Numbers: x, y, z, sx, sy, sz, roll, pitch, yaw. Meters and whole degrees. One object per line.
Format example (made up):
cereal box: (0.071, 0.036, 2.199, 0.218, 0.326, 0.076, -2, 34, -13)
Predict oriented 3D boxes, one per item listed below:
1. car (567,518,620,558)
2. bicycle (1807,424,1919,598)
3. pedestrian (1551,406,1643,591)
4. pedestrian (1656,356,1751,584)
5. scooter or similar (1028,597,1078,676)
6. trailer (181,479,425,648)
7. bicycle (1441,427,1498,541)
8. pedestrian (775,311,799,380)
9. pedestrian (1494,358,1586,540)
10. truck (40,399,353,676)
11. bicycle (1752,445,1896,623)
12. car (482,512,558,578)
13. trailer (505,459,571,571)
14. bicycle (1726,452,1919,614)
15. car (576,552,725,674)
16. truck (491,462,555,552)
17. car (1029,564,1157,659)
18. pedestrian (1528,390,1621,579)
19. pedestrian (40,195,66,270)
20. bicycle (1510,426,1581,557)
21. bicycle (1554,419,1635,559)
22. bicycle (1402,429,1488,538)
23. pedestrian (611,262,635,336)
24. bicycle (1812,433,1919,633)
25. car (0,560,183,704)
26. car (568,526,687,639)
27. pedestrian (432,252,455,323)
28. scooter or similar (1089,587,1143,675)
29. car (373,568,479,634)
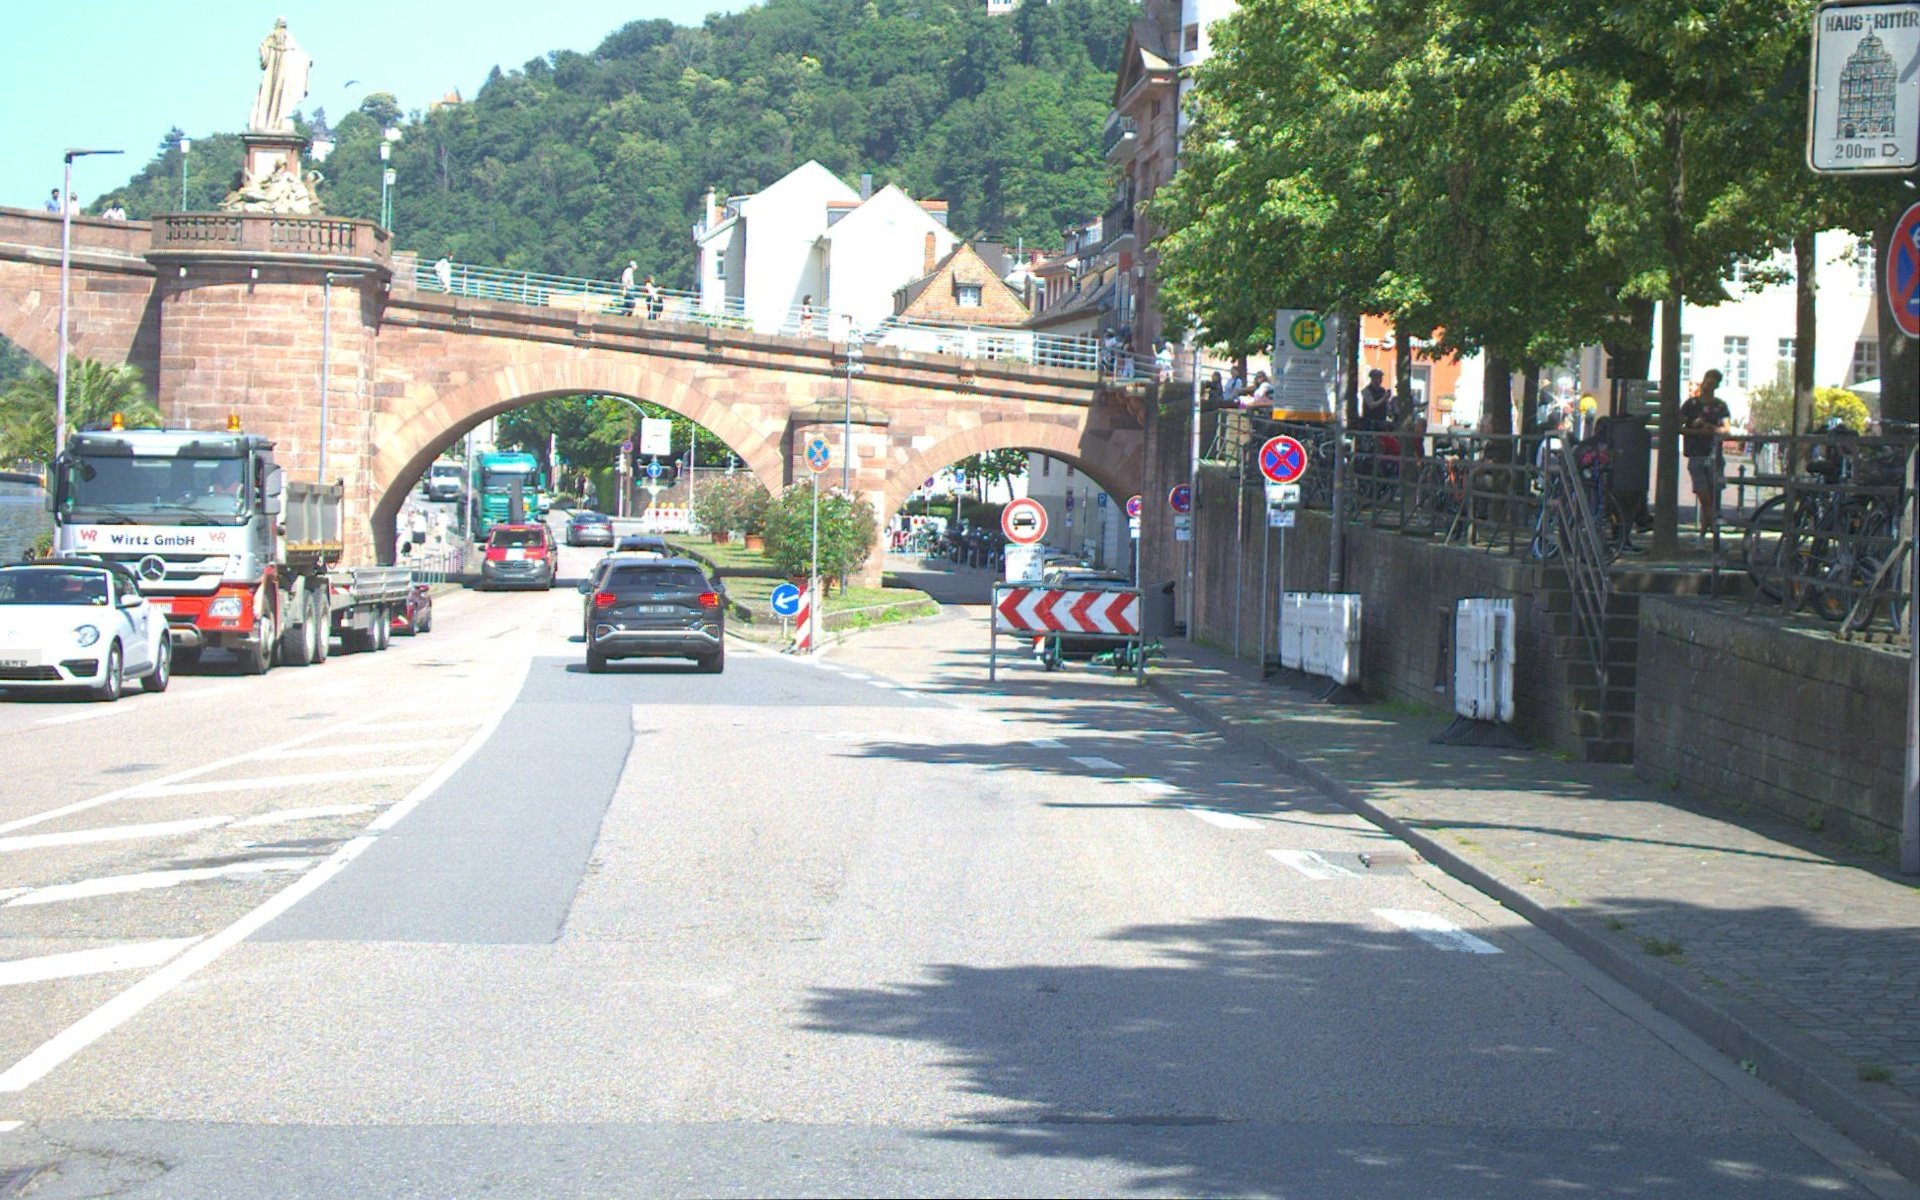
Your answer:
car: (-15.255, -2.587, 142.993, 1.855, 1.656, 4.001, 0, 1, -11)
bicycle: (6.277, -0.616, 23.559, 0.382, 1.136, 1.934, 1, 2, -2)
pedestrian: (5.978, -0.950, 32.280, 0.718, 1.715, 0.573, 1, 1, -1)
pedestrian: (7.192, -1.252, 33.290, 0.718, 2.181, 0.711, 1, 1, -1)
scooter or similar: (1.333, 0.517, 49.030, 0.532, 1.086, 1.438, 1, 1, 8)
trailer: (-10.398, -0.576, 55.043, 2.697, 2.522, 6.948, 0, 0, -1)
bicycle: (5.031, -1.134, 34.008, 0.410, 1.102, 1.734, 1, 1, 4)
pedestrian: (-5.159, -7.569, 102.417, 0.684, 2.007, 0.586, 1, 1, -4)
pedestrian: (5.546, -1.437, 32.884, 0.718, 1.715, 0.711, 1, 1, -1)
truck: (-10.202, -0.822, 46.753, 2.642, 3.445, 7.872, 0, 1, -1)
bicycle: (5.097, -0.405, 20.362, 0.298, 1.001, 1.860, 1, 2, -2)
car: (-12.594, -1.592, 98.585, 1.874, 1.821, 4.545, 0, 2, -3)
trailer: (-12.758, -2.572, 104.072, 1.741, 3.309, 3.384, 0, 1, -3)
bicycle: (5.830, -0.423, 21.841, 1.853, 1.001, 0.299, 1, 2, -3)
car: (-4.107, 0.136, 46.117, 1.856, 1.518, 4.001, 1, 1, -3)
truck: (-18.625, -4.011, 146.835, 2.523, 3.735, 6.248, 0, 3, -6)
car: (2.165, 0.157, 57.143, 1.842, 1.445, 4.535, 2, 1, -1)
pedestrian: (5.652, -1.060, 31.648, 0.718, 1.715, 0.573, 1, 1, -1)
pedestrian: (-25.237, -10.209, 95.673, 0.623, 2.007, 0.695, 1, 1, -11)
bicycle: (5.077, -0.934, 29.859, 0.410, 1.102, 1.734, 1, 1, 4)
bicycle: (5.188, -0.899, 28.168, 0.410, 1.102, 1.924, 1, 1, 4)
bicycle: (5.067, -1.206, 35.985, 0.410, 1.102, 1.735, 0, 1, -8)
pedestrian: (-9.471, -8.458, 96.592, 0.623, 2.007, 0.695, 1, 1, -3)
bicycle: (4.947, -0.366, 18.222, 0.298, 1.001, 1.941, 1, 2, -2)
car: (-9.649, 0.305, 36.842, 1.777, 1.439, 3.998, 1, 1, -1)
car: (-6.119, -0.353, 63.578, 1.993, 2.007, 4.001, 1, 1, -3)
pedestrian: (-15.024, -9.086, 100.009, 0.581, 2.007, 0.586, 1, 1, -4)
scooter or similar: (2.248, 0.438, 49.496, 0.532, 1.226, 1.270, 1, 1, 13)
car: (-10.163, -0.006, 65.601, 1.671, 1.190, 3.629, 0, 1, -4)
